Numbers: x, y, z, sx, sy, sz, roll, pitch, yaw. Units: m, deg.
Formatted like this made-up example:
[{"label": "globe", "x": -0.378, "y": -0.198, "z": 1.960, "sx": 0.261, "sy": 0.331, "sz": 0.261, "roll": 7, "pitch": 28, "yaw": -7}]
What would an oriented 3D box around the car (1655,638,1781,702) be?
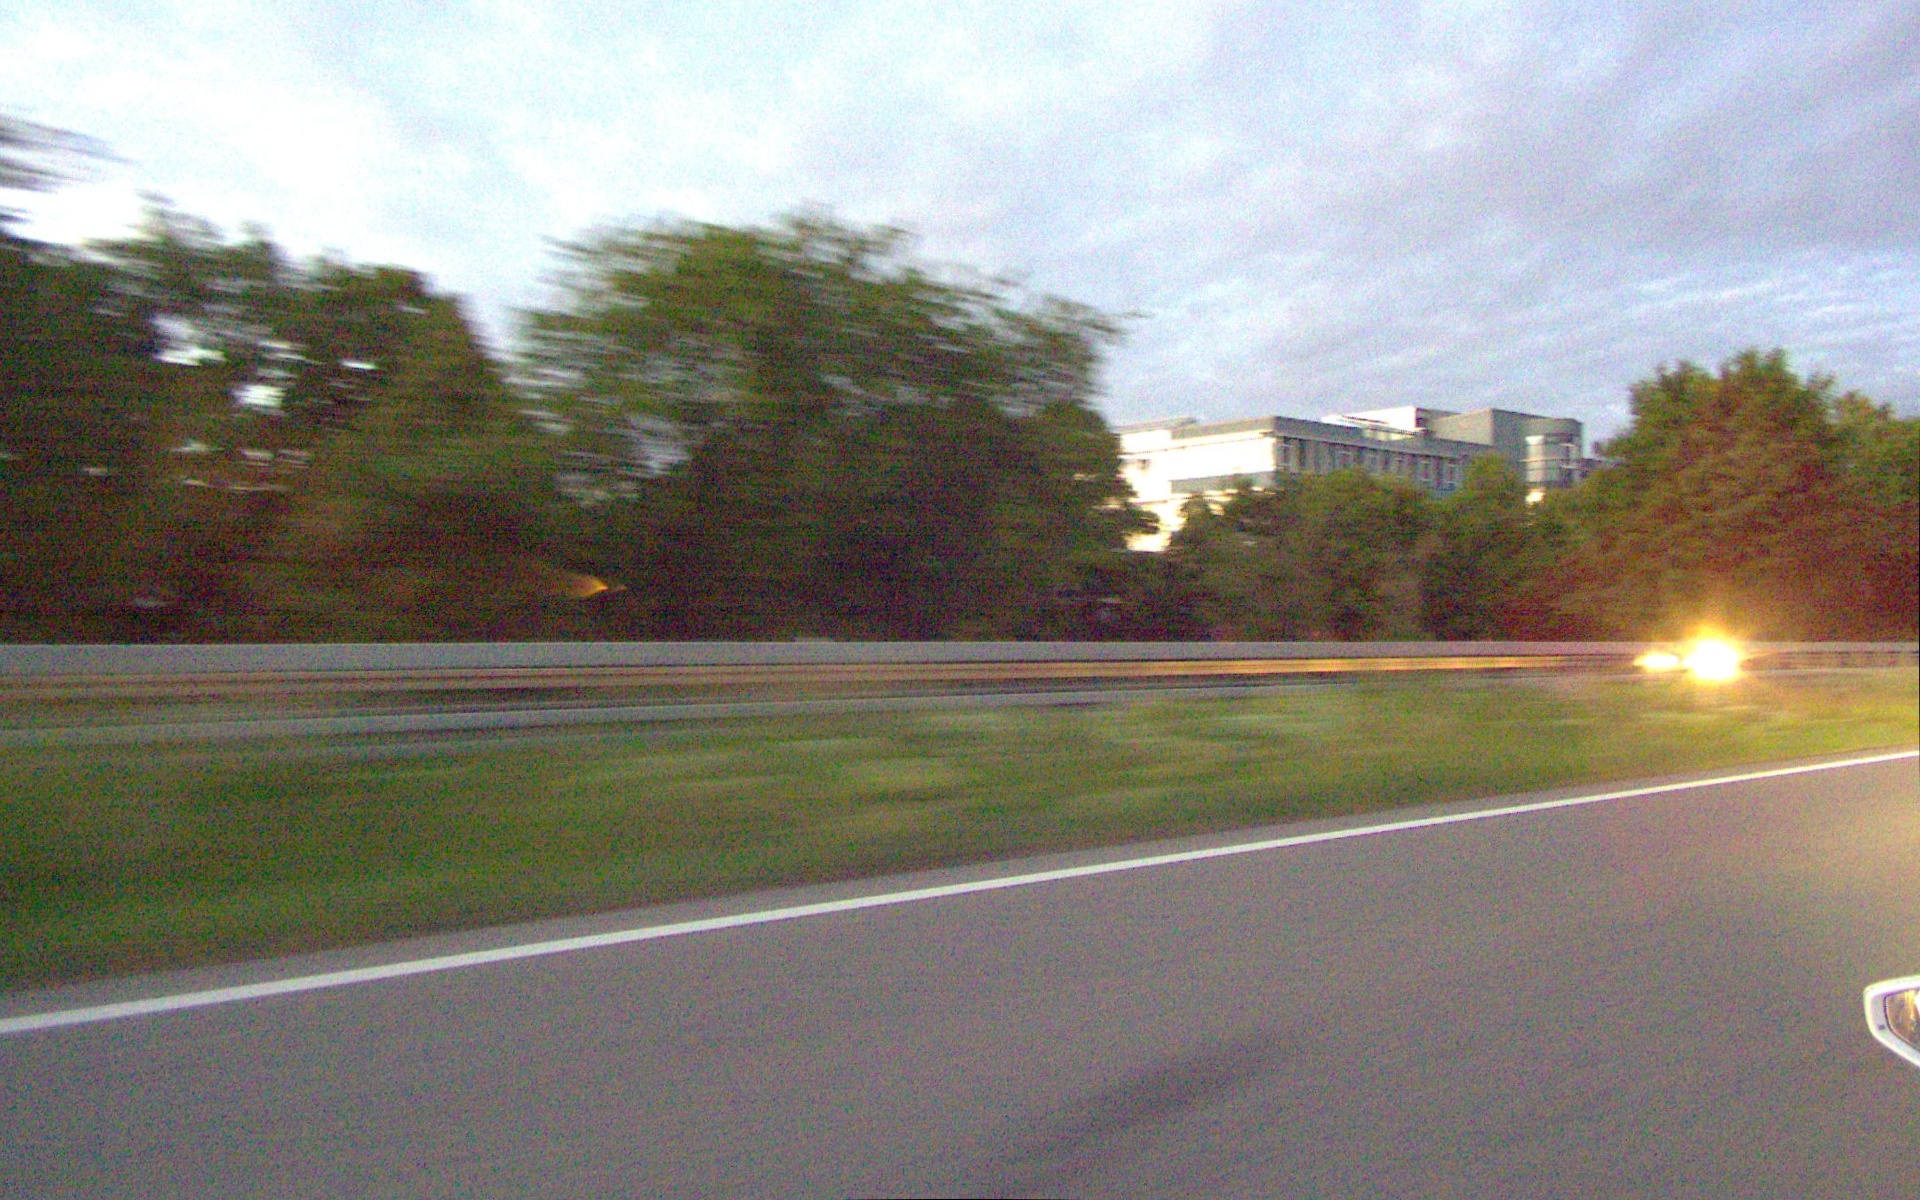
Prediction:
[{"label": "car", "x": 23.023, "y": 2.062, "z": 30.480, "sx": 3.953, "sy": 1.781, "sz": 1.661, "roll": 1, "pitch": 0, "yaw": -30}]
